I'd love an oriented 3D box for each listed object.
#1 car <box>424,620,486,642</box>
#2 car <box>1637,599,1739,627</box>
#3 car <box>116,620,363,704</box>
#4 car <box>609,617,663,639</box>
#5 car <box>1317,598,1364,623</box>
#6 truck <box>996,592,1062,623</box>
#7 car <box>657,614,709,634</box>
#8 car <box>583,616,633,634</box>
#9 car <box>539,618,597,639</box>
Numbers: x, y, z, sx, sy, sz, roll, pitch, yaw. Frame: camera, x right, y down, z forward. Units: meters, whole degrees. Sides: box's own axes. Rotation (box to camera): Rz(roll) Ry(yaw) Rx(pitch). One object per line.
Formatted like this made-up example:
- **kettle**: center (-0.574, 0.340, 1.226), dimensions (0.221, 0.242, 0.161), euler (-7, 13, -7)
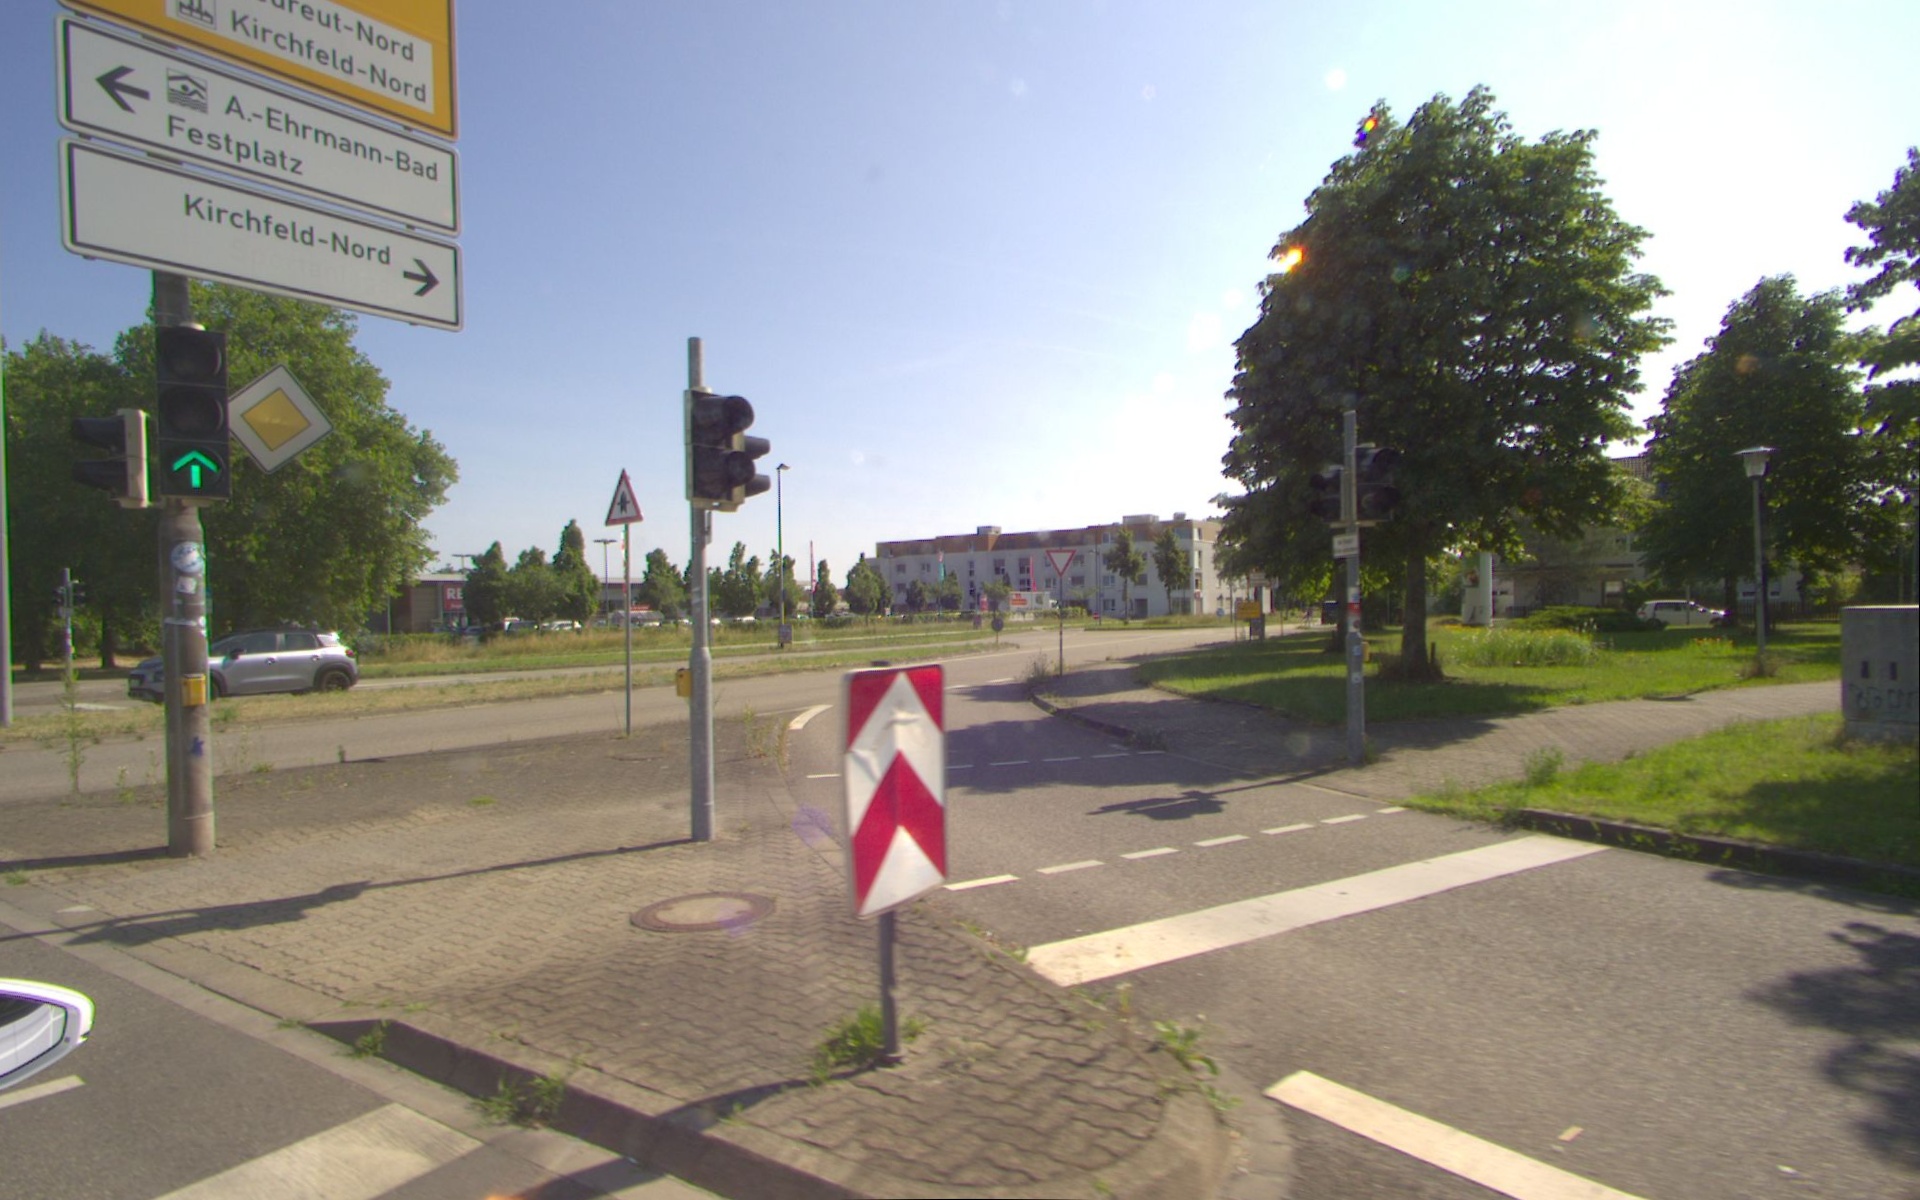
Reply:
- **car**: center (-43.983, 2.657, 87.296), dimensions (1.963, 1.773, 4.475), euler (-1, -1, 38)
- **car**: center (35.455, 0.638, 48.911), dimensions (3.946, 1.305, 1.722), euler (-2, -1, 35)
- **car**: center (-15.601, 1.272, 21.891), dimensions (1.718, 1.584, 4.042), euler (-1, -1, 33)
- **car**: center (-27.813, 2.390, 86.150), dimensions (1.977, 1.750, 3.967), euler (-1, 0, 41)
- **car**: center (29.410, 0.792, 77.337), dimensions (1.979, 1.813, 3.963), euler (-1, 0, 44)
- **truck**: center (8.600, 0.920, 124.131), dimensions (8.144, 3.592, 2.617), euler (-1, 0, -34)
- **car**: center (-26.835, 2.338, 96.950), dimensions (4.449, 1.773, 1.975), euler (-1, 0, -35)
- **car**: center (-36.941, 2.650, 105.139), dimensions (1.967, 1.773, 4.465), euler (-2, -1, 44)
- **car**: center (-35.192, 2.549, 90.016), dimensions (1.963, 1.773, 4.475), euler (-1, -1, 38)
